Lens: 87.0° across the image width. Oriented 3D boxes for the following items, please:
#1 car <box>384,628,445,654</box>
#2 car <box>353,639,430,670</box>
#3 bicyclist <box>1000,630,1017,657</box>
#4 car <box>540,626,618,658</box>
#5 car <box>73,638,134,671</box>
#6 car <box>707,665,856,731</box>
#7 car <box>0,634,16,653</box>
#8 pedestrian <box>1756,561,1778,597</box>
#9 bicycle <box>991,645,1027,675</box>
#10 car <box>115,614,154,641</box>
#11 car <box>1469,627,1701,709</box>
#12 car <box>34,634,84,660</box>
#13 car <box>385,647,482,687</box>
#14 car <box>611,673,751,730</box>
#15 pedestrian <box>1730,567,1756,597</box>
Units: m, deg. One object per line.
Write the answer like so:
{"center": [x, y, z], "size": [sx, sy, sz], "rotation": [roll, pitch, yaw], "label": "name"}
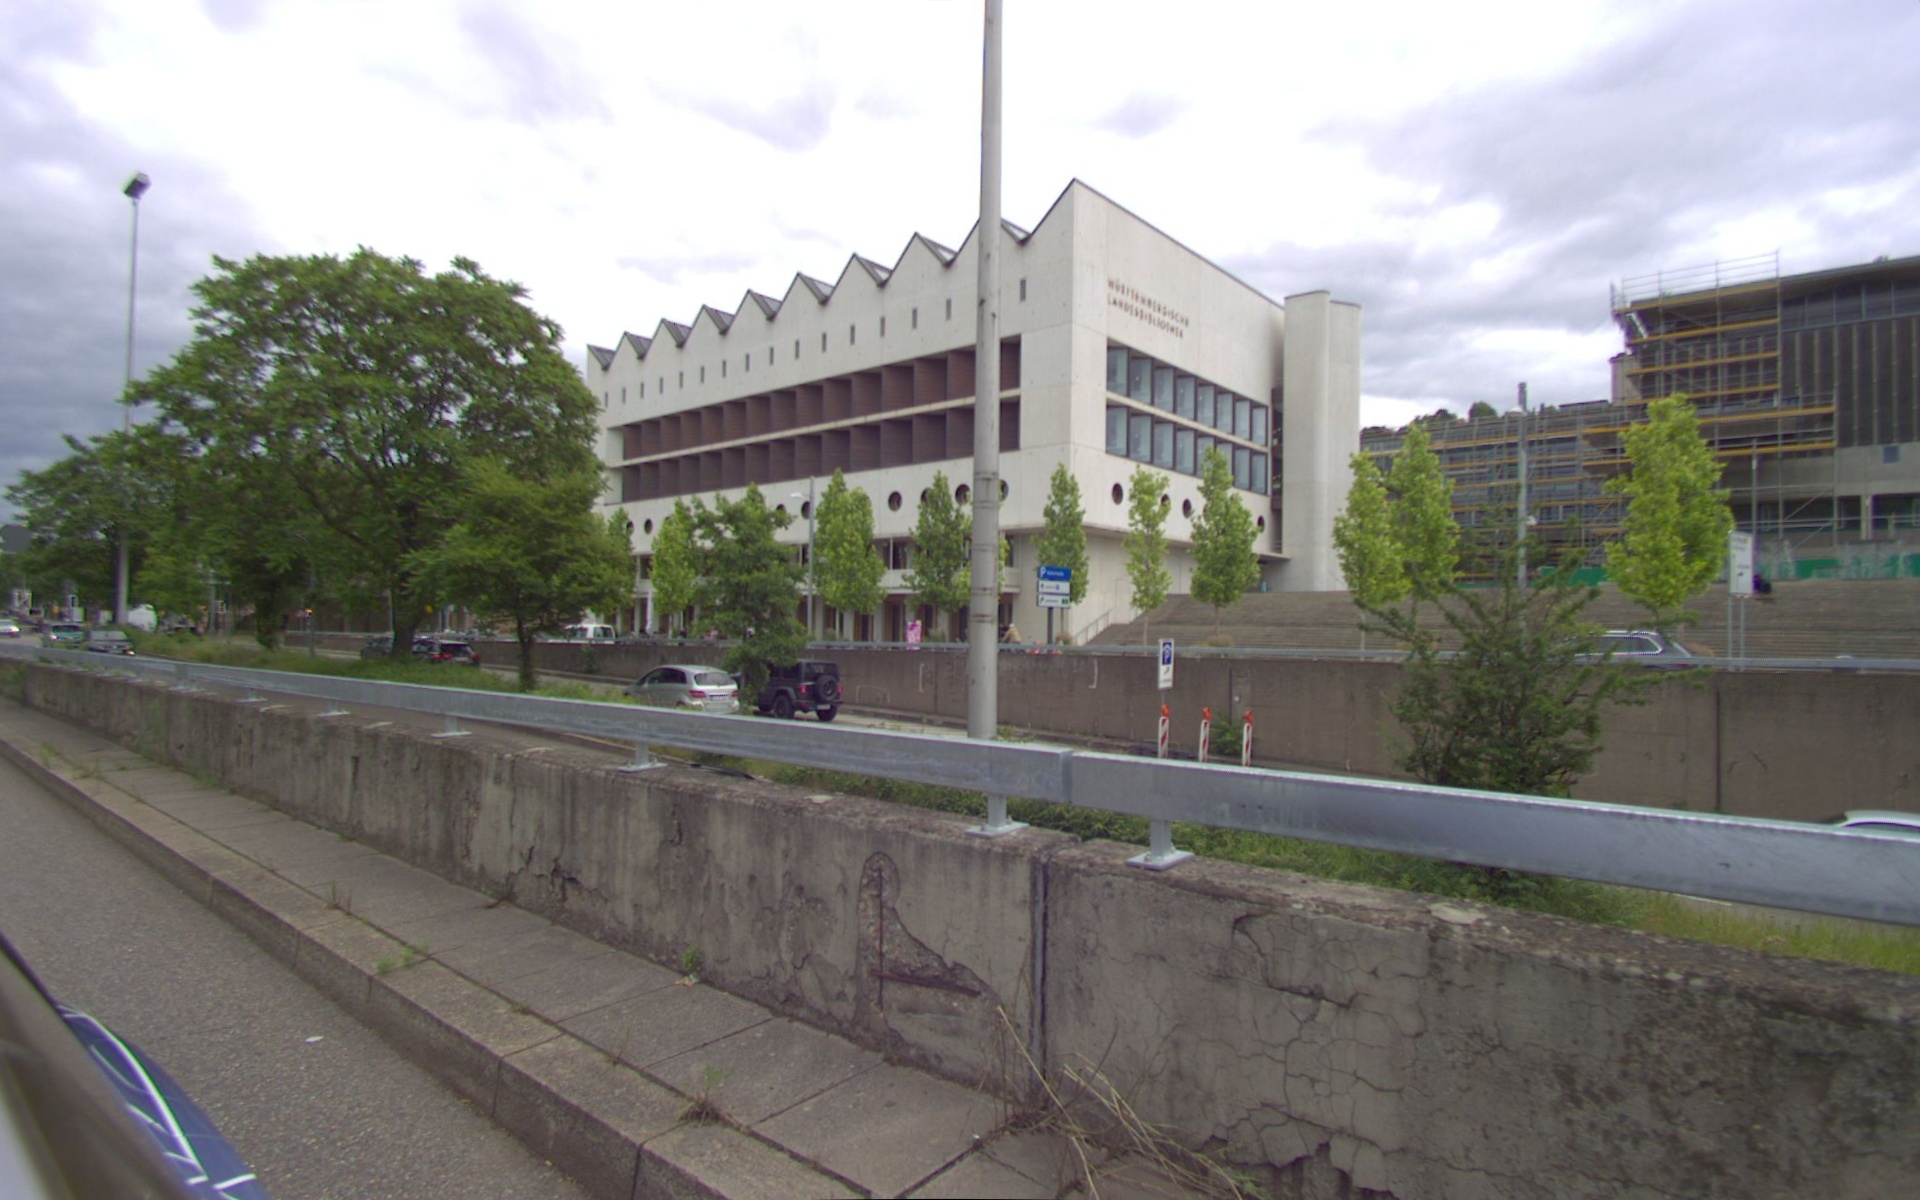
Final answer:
{"center": [-36.440, 2.728, 67.599], "size": [4.485, 1.640, 1.931], "rotation": [-1, -2, 38], "label": "car"}
{"center": [-28.418, 2.708, 50.560], "size": [3.995, 1.409, 1.974], "rotation": [-1, -5, 39], "label": "car"}
{"center": [2.147, 1.928, 44.973], "size": [0.643, 1.169, 0.398], "rotation": [-1, 0, 39], "label": "bicyclist"}
{"center": [-20.649, 2.249, 54.827], "size": [4.485, 1.640, 1.931], "rotation": [-1, -2, 38], "label": "car"}
{"center": [-40.334, 2.537, 47.651], "size": [4.089, 1.425, 1.539], "rotation": [-1, -2, 41], "label": "car"}
{"center": [-5.552, 2.979, 31.256], "size": [4.517, 1.657, 2.132], "rotation": [0, -4, 42], "label": "car"}
{"center": [-76.492, 3.457, 80.480], "size": [4.089, 1.425, 1.635], "rotation": [-1, -2, 41], "label": "car"}
{"center": [32.448, -0.836, 40.713], "size": [0.623, 1.248, 0.665], "rotation": [-1, 21, 35], "label": "pedestrian"}
{"center": [2.154, 2.658, 44.971], "size": [1.697, 1.282, 0.398], "rotation": [-1, 0, 40], "label": "bicycle"}
{"center": [-60.334, 2.007, 73.946], "size": [3.999, 1.868, 1.588], "rotation": [-1, 0, 42], "label": "car"}
{"center": [14.121, 1.508, 22.989], "size": [4.272, 1.595, 1.818], "rotation": [0, -4, 41], "label": "car"}
{"center": [-52.046, 2.715, 58.429], "size": [4.088, 1.425, 1.539], "rotation": [-1, -2, 39], "label": "car"}
{"center": [-20.528, 2.607, 39.390], "size": [3.998, 1.409, 1.973], "rotation": [-1, -5, 41], "label": "car"}
{"center": [-8.078, 2.901, 29.185], "size": [3.998, 1.409, 1.973], "rotation": [-1, -5, 41], "label": "car"}
{"center": [31.862, -0.736, 41.188], "size": [0.767, 0.949, 0.719], "rotation": [-3, 21, 35], "label": "pedestrian"}
